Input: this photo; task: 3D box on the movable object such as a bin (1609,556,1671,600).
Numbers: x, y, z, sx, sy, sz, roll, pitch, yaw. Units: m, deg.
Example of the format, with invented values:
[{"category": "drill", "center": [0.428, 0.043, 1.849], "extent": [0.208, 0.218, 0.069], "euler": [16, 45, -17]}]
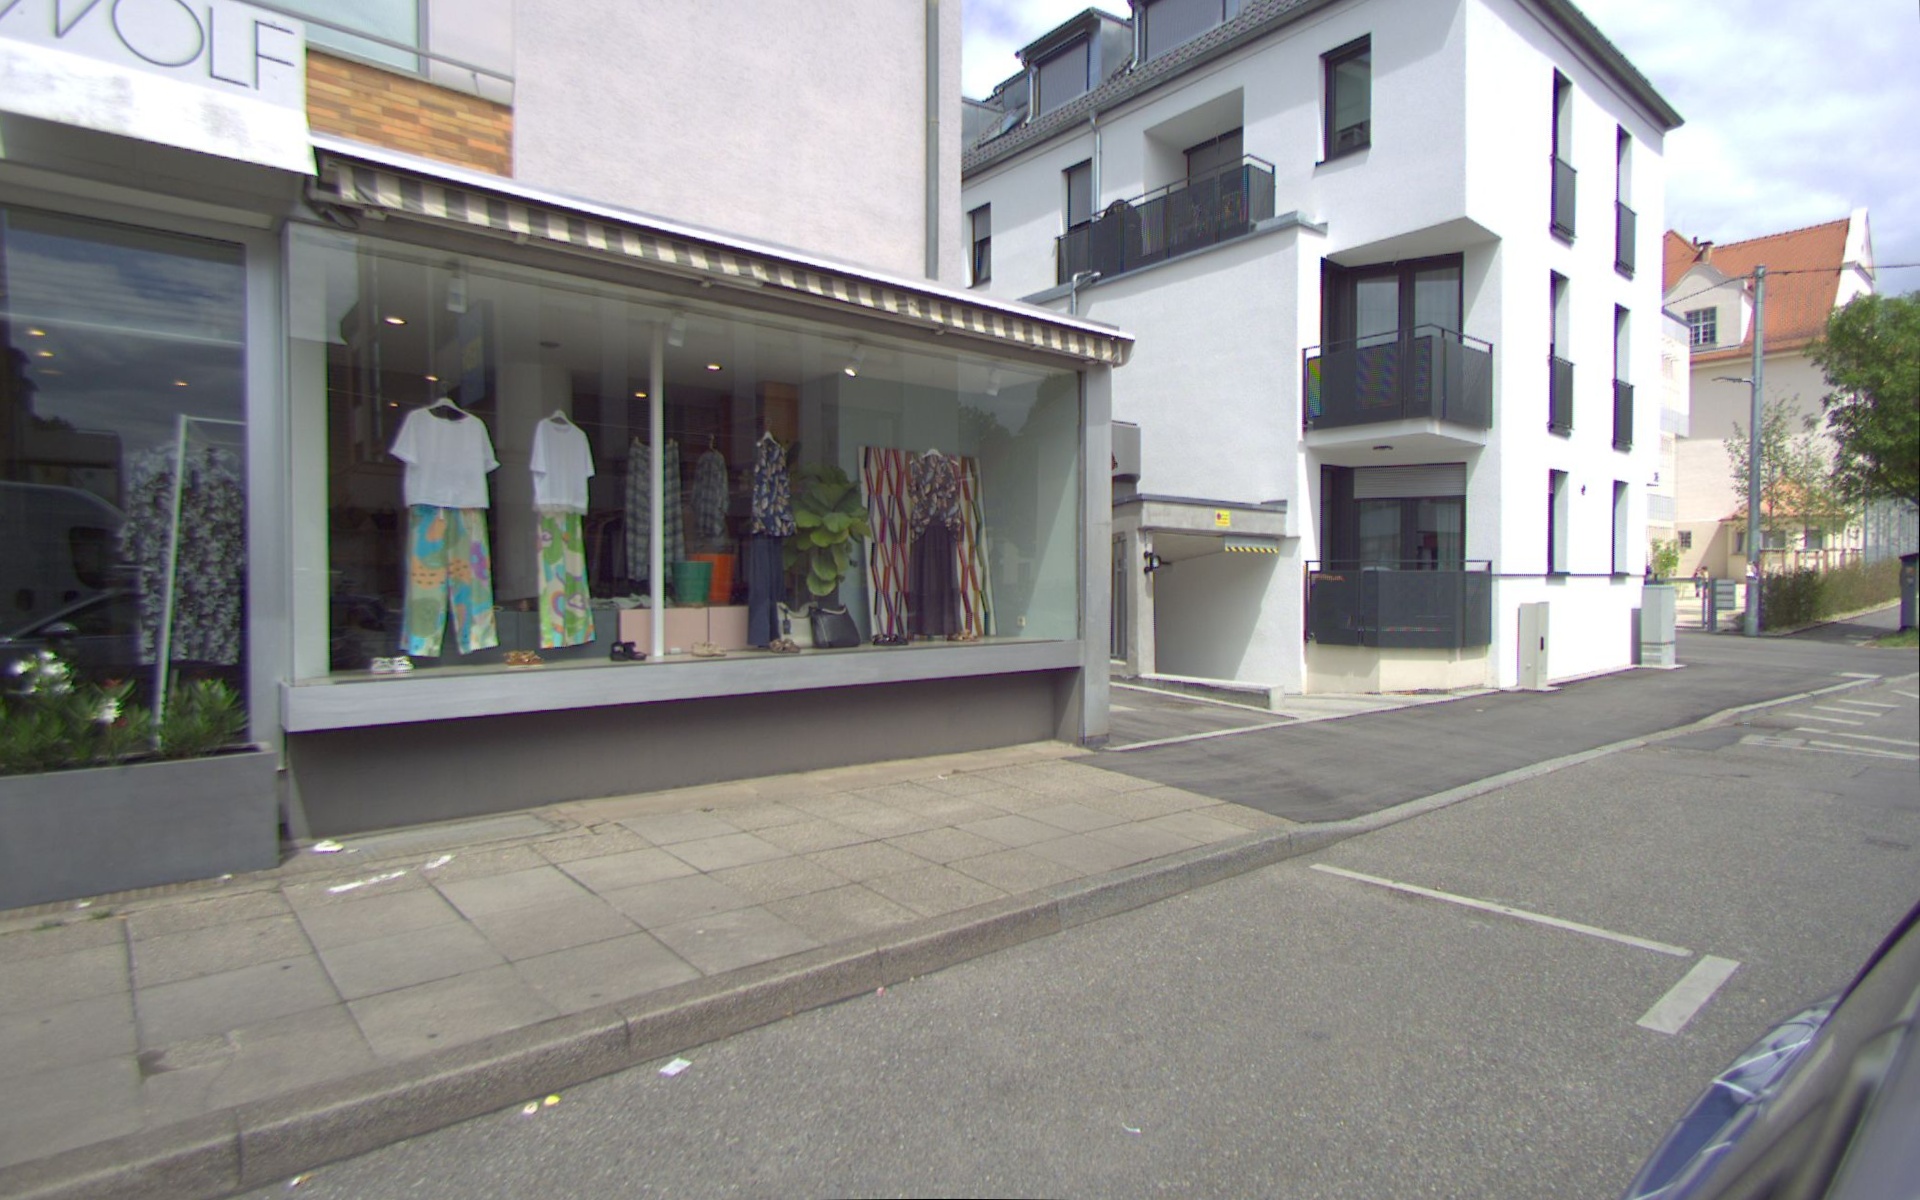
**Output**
[{"category": "movable object such as a bin", "center": [23.826, -0.784, 35.458], "extent": [1.775, 1.465, 1.351], "euler": [-2, 2, -39]}]
